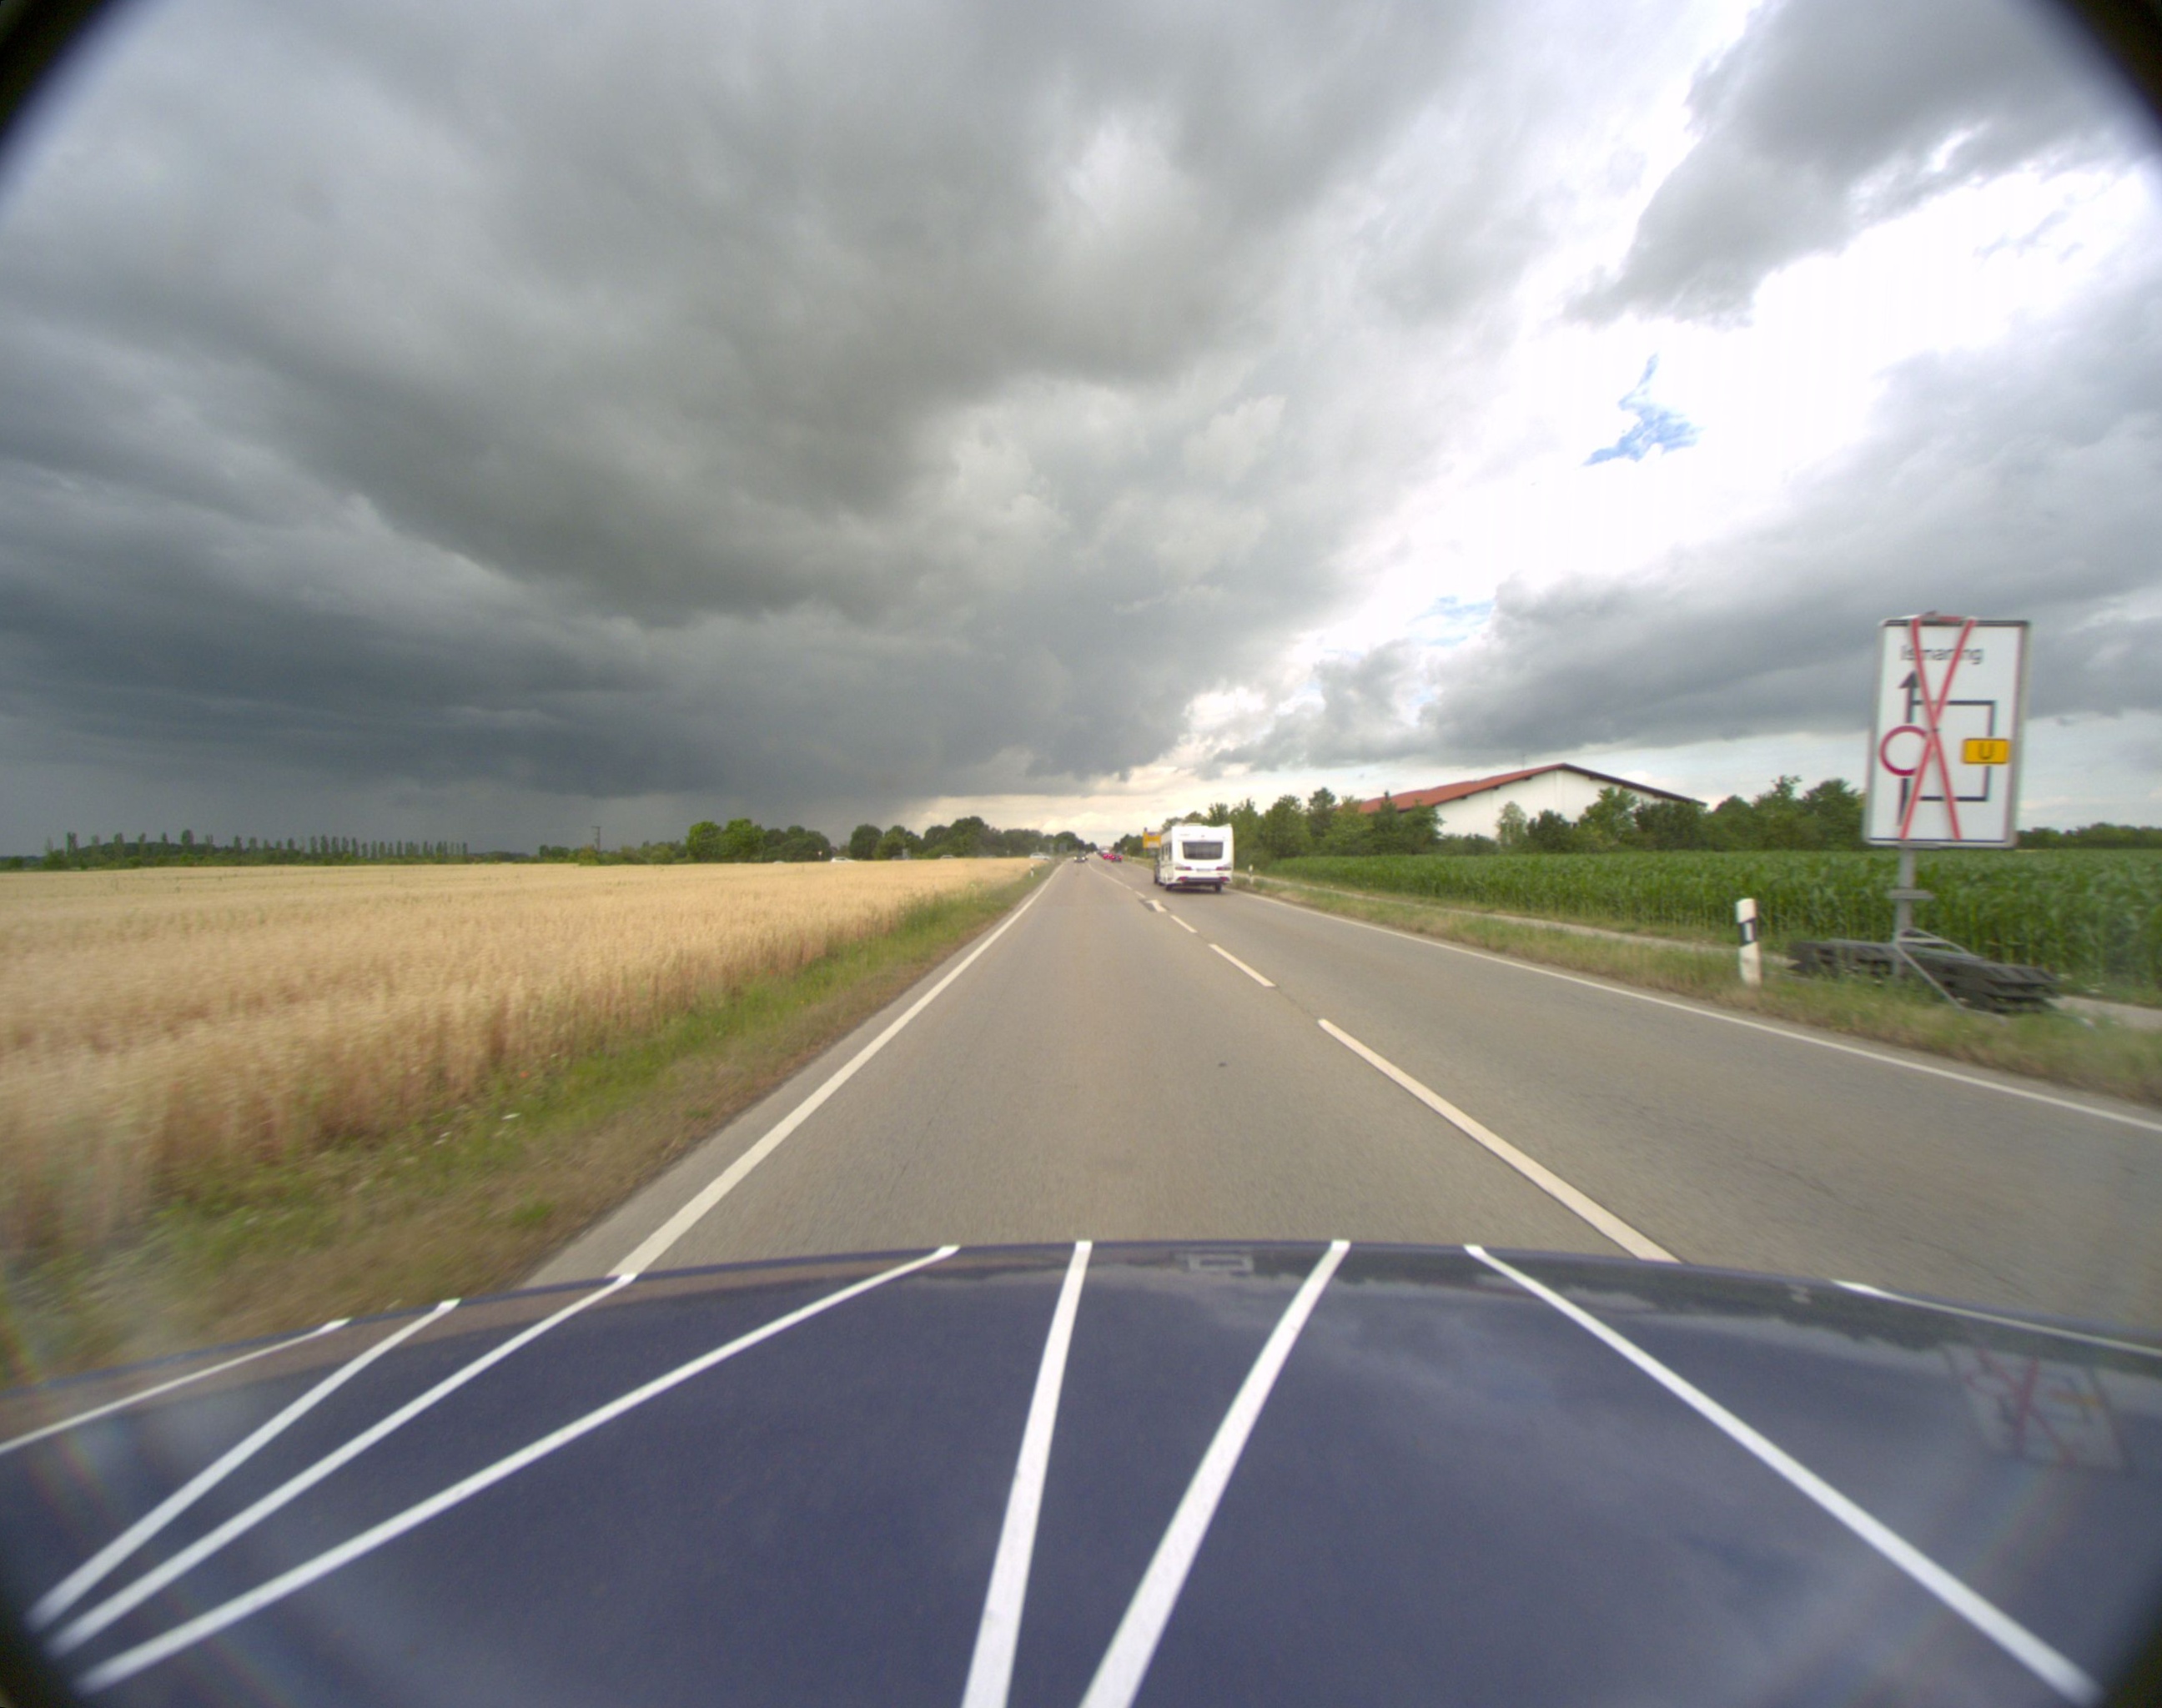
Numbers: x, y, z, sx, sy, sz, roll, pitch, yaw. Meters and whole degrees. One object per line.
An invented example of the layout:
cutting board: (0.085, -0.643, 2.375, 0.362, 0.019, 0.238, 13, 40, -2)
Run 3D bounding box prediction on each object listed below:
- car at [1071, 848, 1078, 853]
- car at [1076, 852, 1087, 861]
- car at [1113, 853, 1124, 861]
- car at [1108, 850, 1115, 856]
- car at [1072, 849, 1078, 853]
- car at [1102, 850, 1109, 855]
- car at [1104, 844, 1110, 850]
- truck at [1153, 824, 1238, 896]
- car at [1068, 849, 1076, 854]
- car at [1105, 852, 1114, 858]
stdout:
car: (-1.982, -1.165, 234.864, 1.869, 1.540, 3.826, 0, 1, 1)
car: (0.091, 0.435, 125.168, 1.869, 1.352, 3.826, 0, 1, 0)
car: (6.581, 0.486, 134.265, 1.869, 1.352, 3.826, 0, 1, 1)
car: (7.623, -0.199, 189.491, 1.725, 1.352, 3.826, 0, 1, 1)
car: (-1.599, -0.851, 214.034, 1.714, 1.352, 3.826, 0, 1, 1)
car: (6.582, -0.423, 207.002, 1.788, 1.352, 3.826, 0, 1, 1)
car: (7.993, -2.162, 236.313, 1.759, 1.690, 3.826, 0, 1, 1)
truck: (4.777, 0.183, 33.840, 2.419, 2.643, 11.431, 0, 1, 2)
car: (-2.300, -0.617, 195.528, 1.714, 1.352, 3.826, 0, 1, 1)
car: (6.379, 0.250, 168.665, 1.869, 1.352, 3.826, 0, 1, 1)
